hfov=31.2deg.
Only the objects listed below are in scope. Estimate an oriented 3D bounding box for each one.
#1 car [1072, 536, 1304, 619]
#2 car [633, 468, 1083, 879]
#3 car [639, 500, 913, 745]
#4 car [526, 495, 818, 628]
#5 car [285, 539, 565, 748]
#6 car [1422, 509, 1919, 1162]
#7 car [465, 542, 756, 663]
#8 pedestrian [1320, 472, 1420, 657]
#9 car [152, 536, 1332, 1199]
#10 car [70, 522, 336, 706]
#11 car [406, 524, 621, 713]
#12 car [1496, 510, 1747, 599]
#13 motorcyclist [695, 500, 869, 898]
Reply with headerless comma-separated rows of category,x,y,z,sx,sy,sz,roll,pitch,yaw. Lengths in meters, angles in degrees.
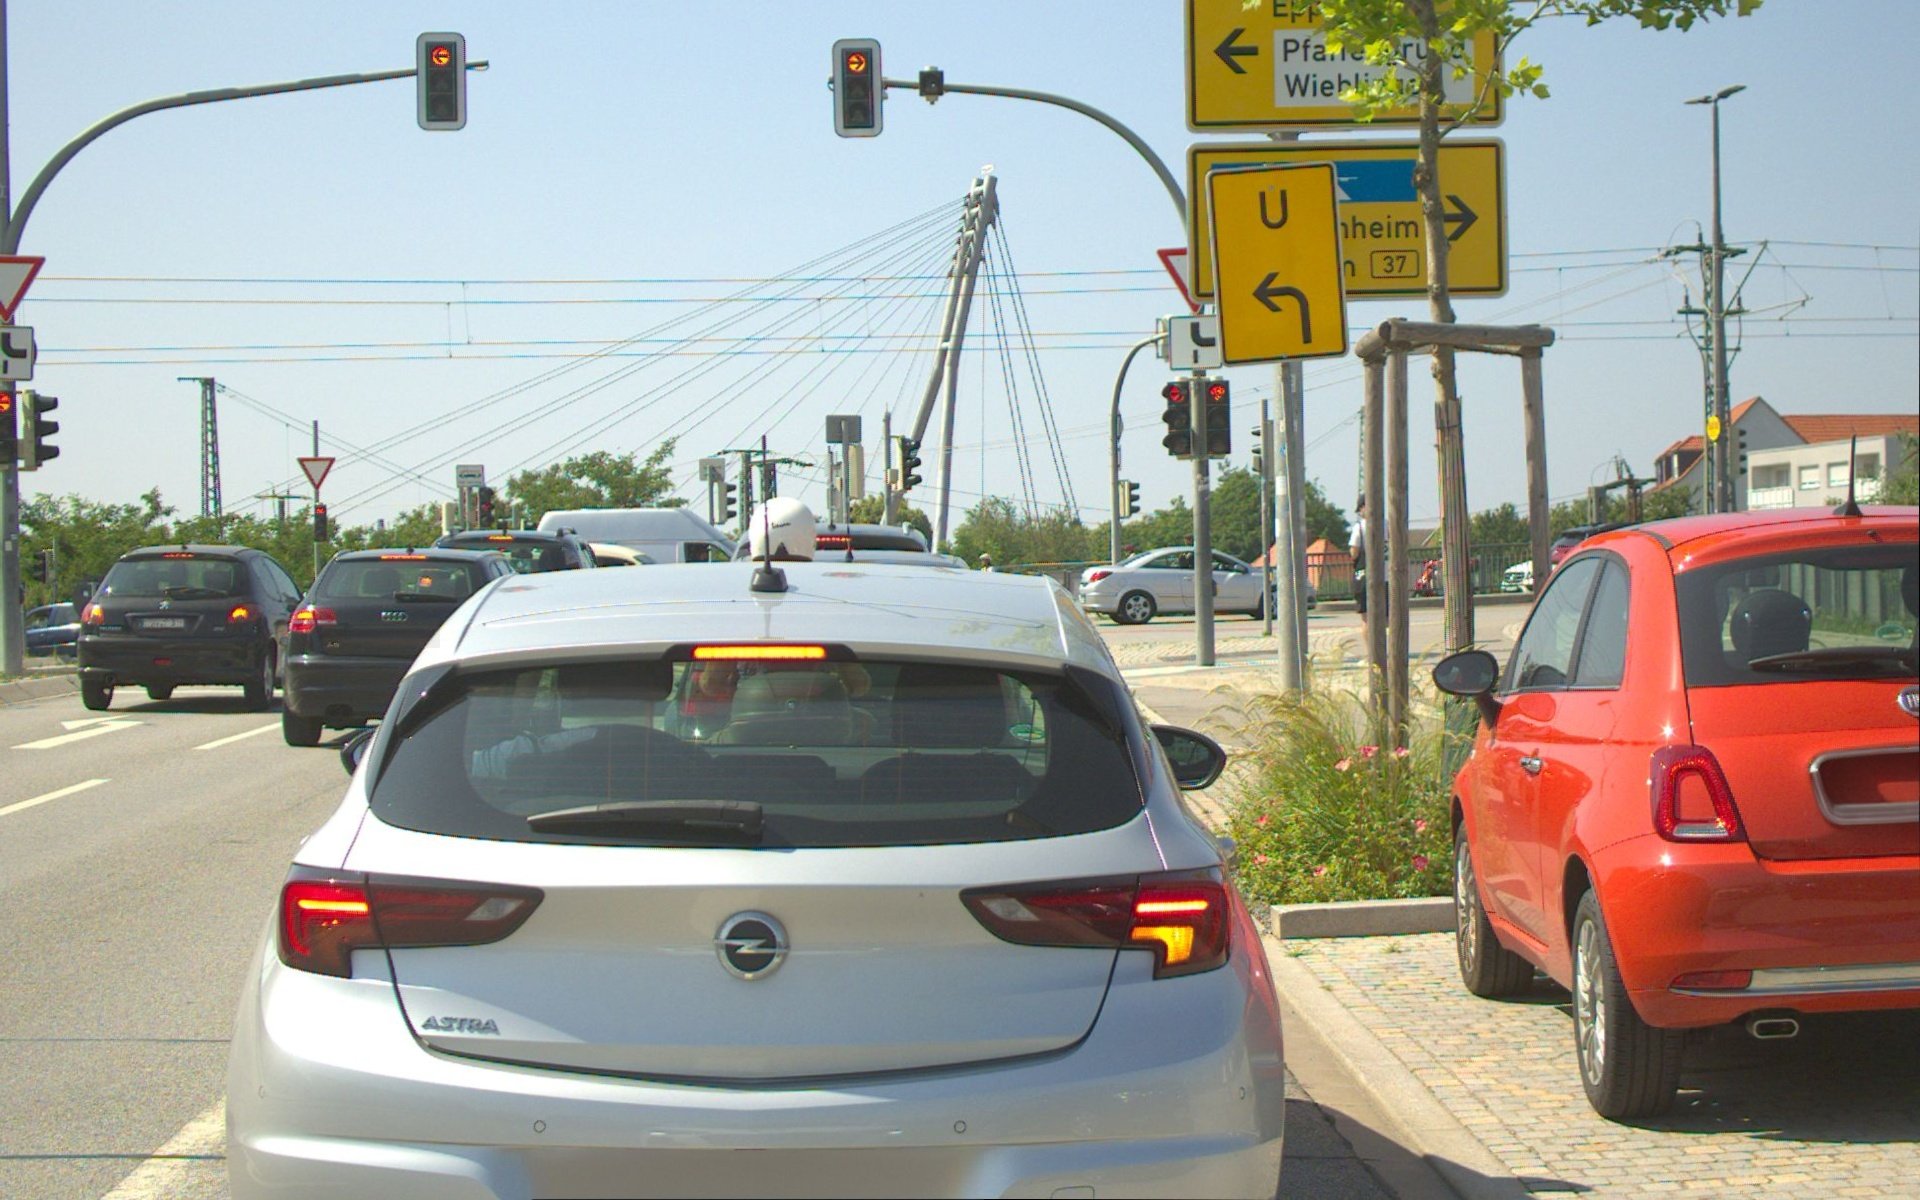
car,4.206,-0.419,63.774,3.986,1.477,2.000,1,1,-6
car,-0.483,0.273,17.599,1.993,1.814,4.402,1,2,-1
car,-1.219,0.090,24.245,1.724,1.558,4.000,1,2,0
car,-5.227,-0.705,62.575,5.002,2.368,1.783,0,0,10
car,-3.924,0.281,25.725,1.575,1.429,3.786,1,1,-1
car,2.352,0.512,9.763,1.610,1.491,3.352,-2,1,1
car,-6.064,0.025,59.977,4.703,2.007,1.999,1,0,7
pedestrian,4.118,-0.358,34.539,0.648,1.830,0.796,0,1,39
car,-0.429,0.631,7.123,1.742,1.473,4.001,1,1,-3
car,-6.774,0.103,31.099,1.597,1.542,3.762,1,1,-1
car,-4.043,0.142,31.598,1.649,1.610,3.821,1,1,-3
car,12.411,-0.843,64.553,4.273,1.626,1.756,0,0,-13
motorcyclist,-0.633,0.344,12.386,0.581,1.384,0.707,1,0,-1
